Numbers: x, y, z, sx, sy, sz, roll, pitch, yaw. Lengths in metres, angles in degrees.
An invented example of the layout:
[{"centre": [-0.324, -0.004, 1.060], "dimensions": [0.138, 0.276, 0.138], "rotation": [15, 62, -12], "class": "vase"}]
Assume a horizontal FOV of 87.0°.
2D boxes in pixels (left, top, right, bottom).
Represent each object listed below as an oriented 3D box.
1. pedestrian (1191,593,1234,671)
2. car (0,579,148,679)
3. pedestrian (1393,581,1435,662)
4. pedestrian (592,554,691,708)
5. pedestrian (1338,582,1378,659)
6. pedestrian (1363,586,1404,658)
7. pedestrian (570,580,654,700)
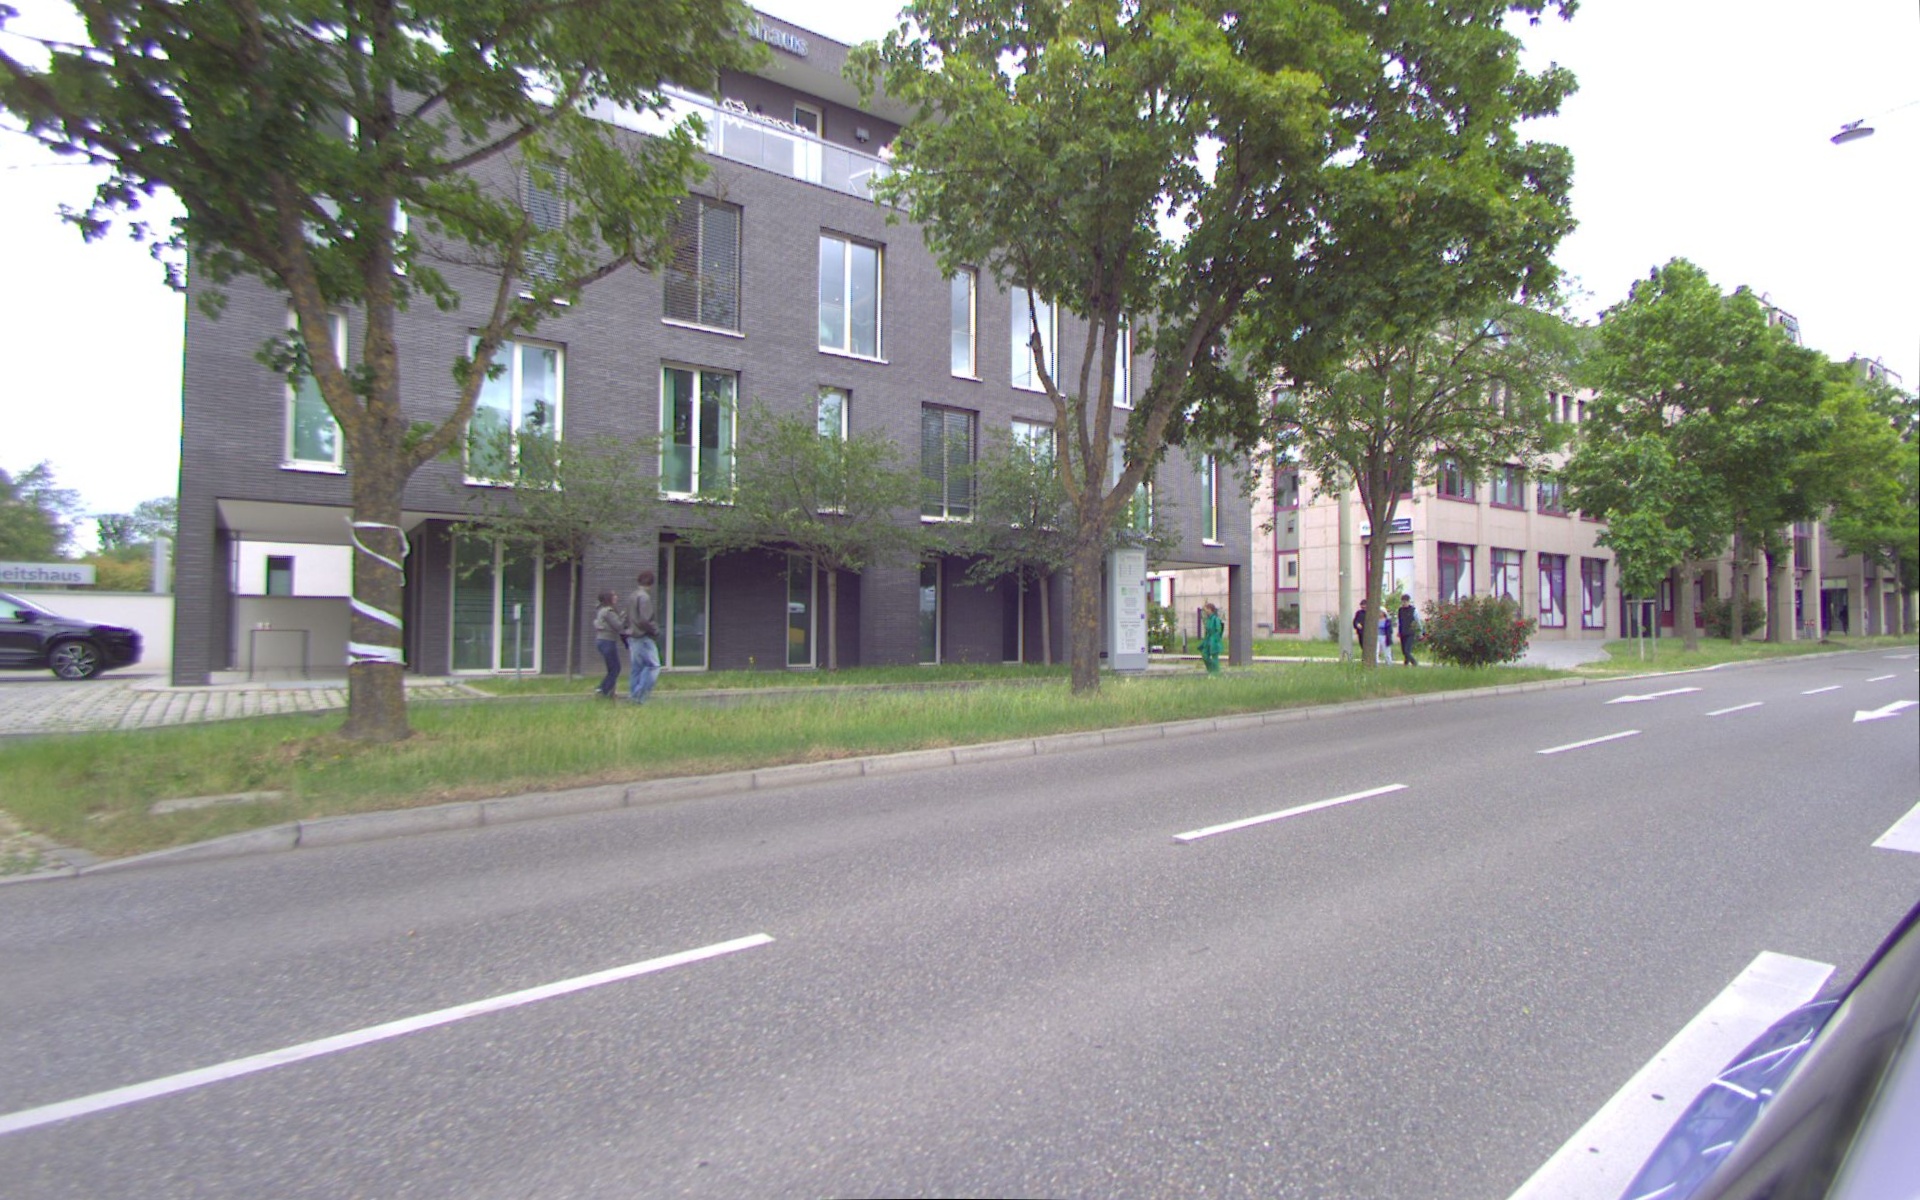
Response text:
[{"centre": [5.134, 0.647, 20.576], "dimensions": [0.665, 1.537, 0.496], "rotation": [1, 2, -40], "class": "pedestrian"}, {"centre": [-16.673, 0.487, 17.506], "dimensions": [4.074, 1.667, 1.759], "rotation": [0, -1, -40], "class": "car"}, {"centre": [10.430, 0.491, 23.234], "dimensions": [0.665, 1.828, 0.642], "rotation": [1, -1, -39], "class": "pedestrian"}, {"centre": [-4.135, 0.383, 13.122], "dimensions": [0.961, 1.892, 0.962], "rotation": [1, -1, -38], "class": "pedestrian"}, {"centre": [9.616, 0.491, 24.449], "dimensions": [0.665, 1.828, 0.642], "rotation": [1, -1, -39], "class": "pedestrian"}, {"centre": [9.948, 0.505, 23.770], "dimensions": [0.665, 1.668, 0.642], "rotation": [1, -1, -39], "class": "pedestrian"}, {"centre": [-4.768, 0.529, 13.853], "dimensions": [0.859, 1.577, 0.834], "rotation": [1, -1, -38], "class": "pedestrian"}]
